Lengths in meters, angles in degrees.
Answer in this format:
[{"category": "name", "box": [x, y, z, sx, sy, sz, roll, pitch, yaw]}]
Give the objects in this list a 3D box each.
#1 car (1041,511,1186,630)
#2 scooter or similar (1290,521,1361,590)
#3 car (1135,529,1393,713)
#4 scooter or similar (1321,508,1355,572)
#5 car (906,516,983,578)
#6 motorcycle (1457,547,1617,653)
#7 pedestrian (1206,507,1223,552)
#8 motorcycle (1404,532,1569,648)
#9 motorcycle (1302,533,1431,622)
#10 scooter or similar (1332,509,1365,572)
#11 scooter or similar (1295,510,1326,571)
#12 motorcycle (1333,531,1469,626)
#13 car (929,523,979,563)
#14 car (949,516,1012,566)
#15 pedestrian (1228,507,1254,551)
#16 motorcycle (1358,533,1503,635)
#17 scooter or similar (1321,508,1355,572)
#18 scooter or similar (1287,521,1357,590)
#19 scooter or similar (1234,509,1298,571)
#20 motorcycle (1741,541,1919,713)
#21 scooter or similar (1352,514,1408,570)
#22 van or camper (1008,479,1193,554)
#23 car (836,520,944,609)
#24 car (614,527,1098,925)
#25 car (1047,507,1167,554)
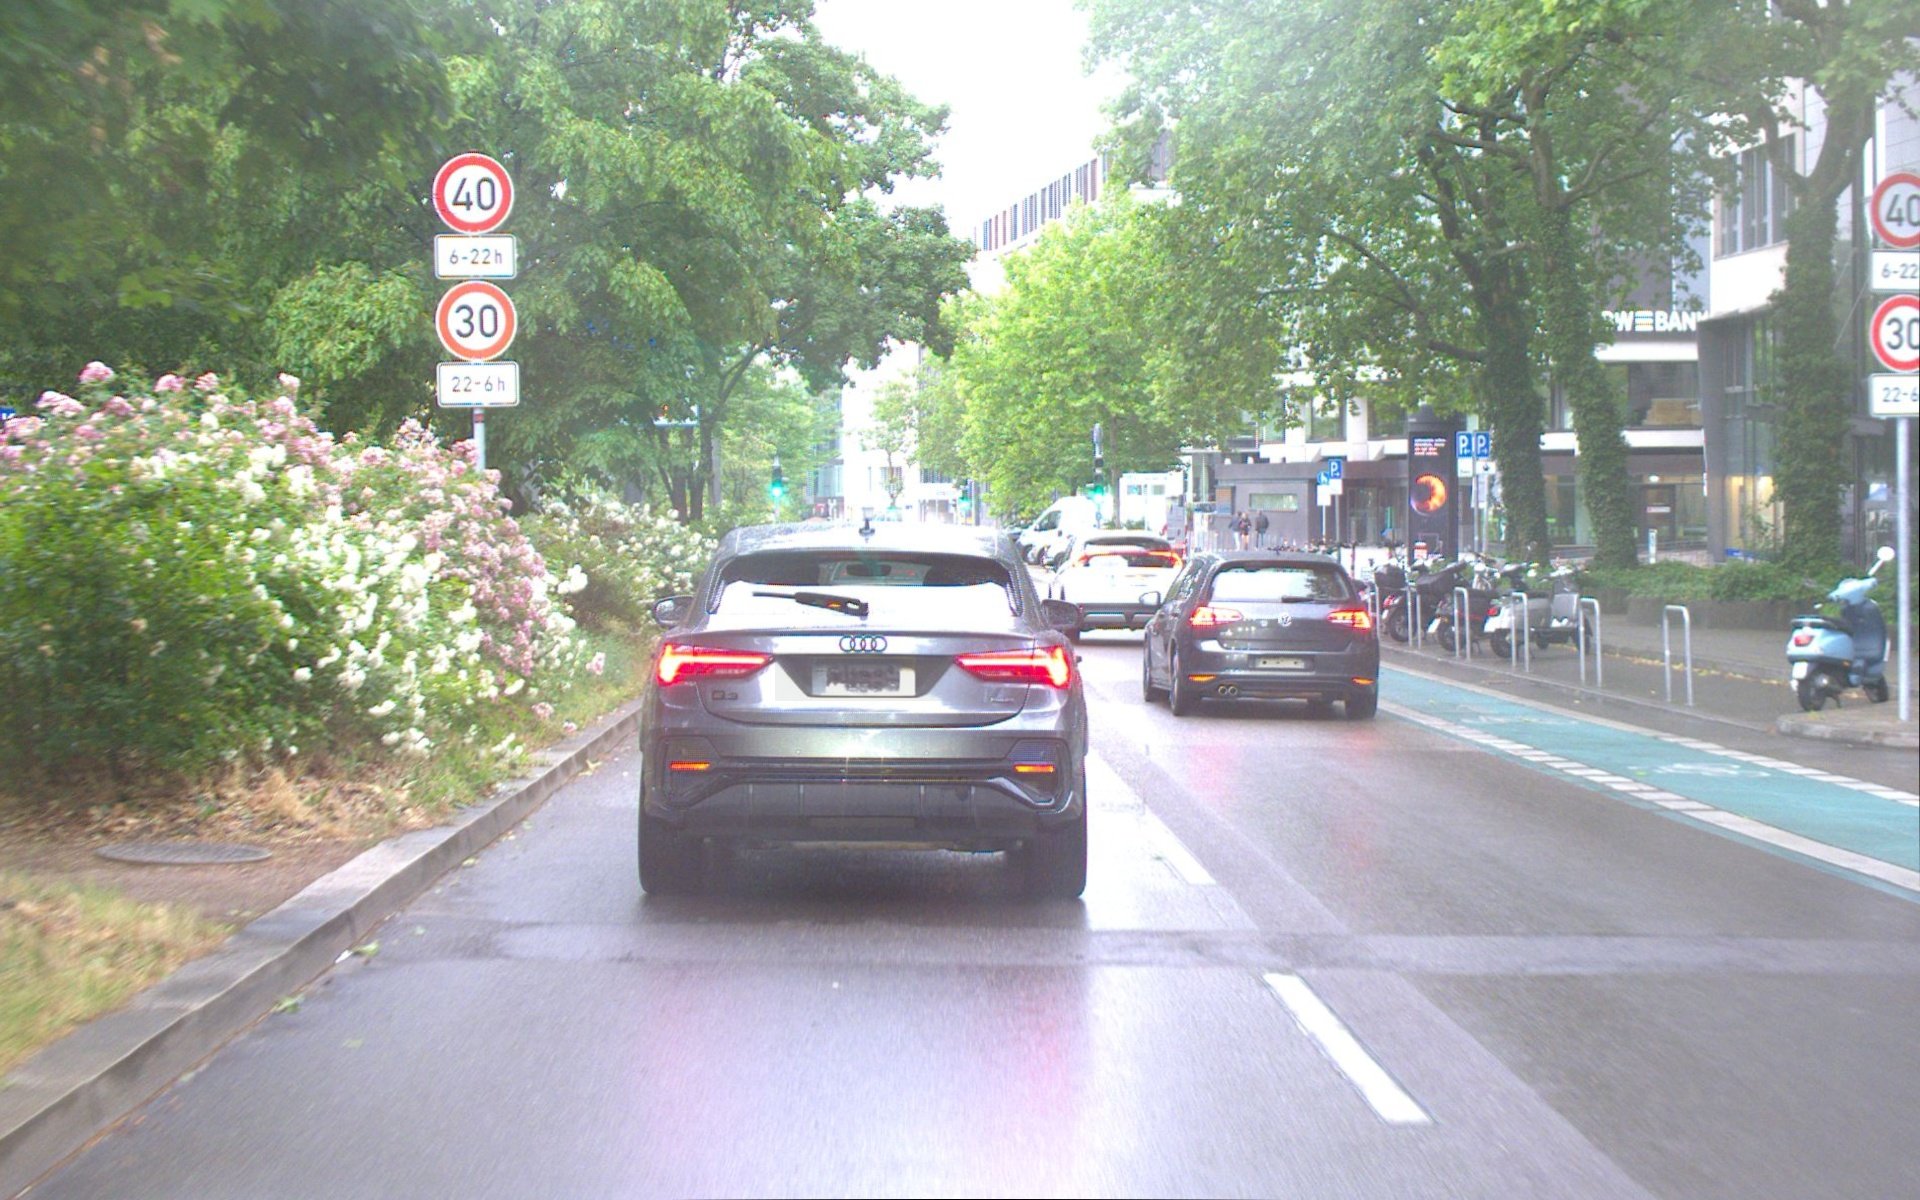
[{"category": "car", "box": [2.196, -0.454, 50.145, 1.849, 1.663, 4.039, 0, 1, -1]}, {"category": "scooter or similar", "box": [6.980, -0.849, 65.644, 1.289, 1.274, 0.537, -1, 3, 3]}, {"category": "car", "box": [2.640, 0.133, 30.724, 1.849, 1.518, 4.039, 0, 1, -1]}, {"category": "scooter or similar", "box": [7.759, -1.240, 70.593, 0.487, 1.255, 1.294, -1, 3, -1]}, {"category": "car", "box": [-0.415, -1.360, 86.897, 1.849, 1.518, 4.039, 0, 1, -1]}, {"category": "motorcycle", "box": [7.238, -0.006, 43.076, 2.054, 1.208, 0.685, -4, 1, -36]}, {"category": "pedestrian", "box": [10.251, -2.827, 138.417, 0.553, 1.799, 0.762, 1, 0, -4]}, {"category": "motorcycle", "box": [6.967, -0.148, 45.453, 2.053, 1.423, 0.729, -3, 3, -22]}, {"category": "motorcycle", "box": [6.678, -0.375, 56.548, 1.955, 1.369, 0.729, -2, 3, -17]}, {"category": "scooter or similar", "box": [8.110, -1.248, 71.830, 0.487, 1.255, 1.294, -1, 3, -1]}, {"category": "scooter or similar", "box": [7.500, -1.273, 73.526, 0.487, 1.255, 1.294, -1, 3, -1]}, {"category": "motorcycle", "box": [6.836, -0.339, 53.276, 1.955, 1.369, 0.729, -3, 3, -22]}, {"category": "car", "box": [-0.248, -2.197, 131.967, 1.849, 1.518, 4.039, 0, 1, -1]}, {"category": "car", "box": [0.621, -1.840, 106.497, 1.849, 1.518, 4.039, 0, 1, -1]}, {"category": "pedestrian", "box": [11.054, -2.793, 135.319, 0.805, 1.690, 1.187, 1, 1, -4]}, {"category": "motorcycle", "box": [6.828, -0.242, 49.845, 1.955, 1.369, 0.729, -3, 3, -22]}, {"category": "scooter or similar", "box": [7.759, -1.240, 70.593, 0.487, 1.255, 1.294, -1, 3, -1]}, {"category": "scooter or similar", "box": [6.954, -0.854, 66.088, 1.289, 1.274, 0.537, -1, 3, 3]}, {"category": "scooter or similar", "box": [6.497, -1.273, 72.965, 1.290, 1.255, 0.489, -1, 3, 11]}, {"category": "motorcycle", "box": [7.518, 0.219, 29.605, 0.684, 1.362, 1.941, -3, 1, 39]}, {"category": "scooter or similar", "box": [9.064, -1.241, 74.206, 0.487, 1.193, 1.293, 0, 1, -32]}, {"category": "van or camper", "box": [4.880, -2.882, 119.690, 6.074, 2.549, 2.102, 0, 1, 26]}, {"category": "car", "box": [-1.243, -0.647, 60.833, 1.849, 1.518, 4.039, 0, 1, -1]}, {"category": "car", "box": [-0.472, 0.445, 15.207, 1.849, 1.518, 4.039, 0, 1, -2]}, {"category": "car", "box": [4.866, -2.307, 113.812, 3.652, 1.542, 1.713, 1, 1, 18]}]
